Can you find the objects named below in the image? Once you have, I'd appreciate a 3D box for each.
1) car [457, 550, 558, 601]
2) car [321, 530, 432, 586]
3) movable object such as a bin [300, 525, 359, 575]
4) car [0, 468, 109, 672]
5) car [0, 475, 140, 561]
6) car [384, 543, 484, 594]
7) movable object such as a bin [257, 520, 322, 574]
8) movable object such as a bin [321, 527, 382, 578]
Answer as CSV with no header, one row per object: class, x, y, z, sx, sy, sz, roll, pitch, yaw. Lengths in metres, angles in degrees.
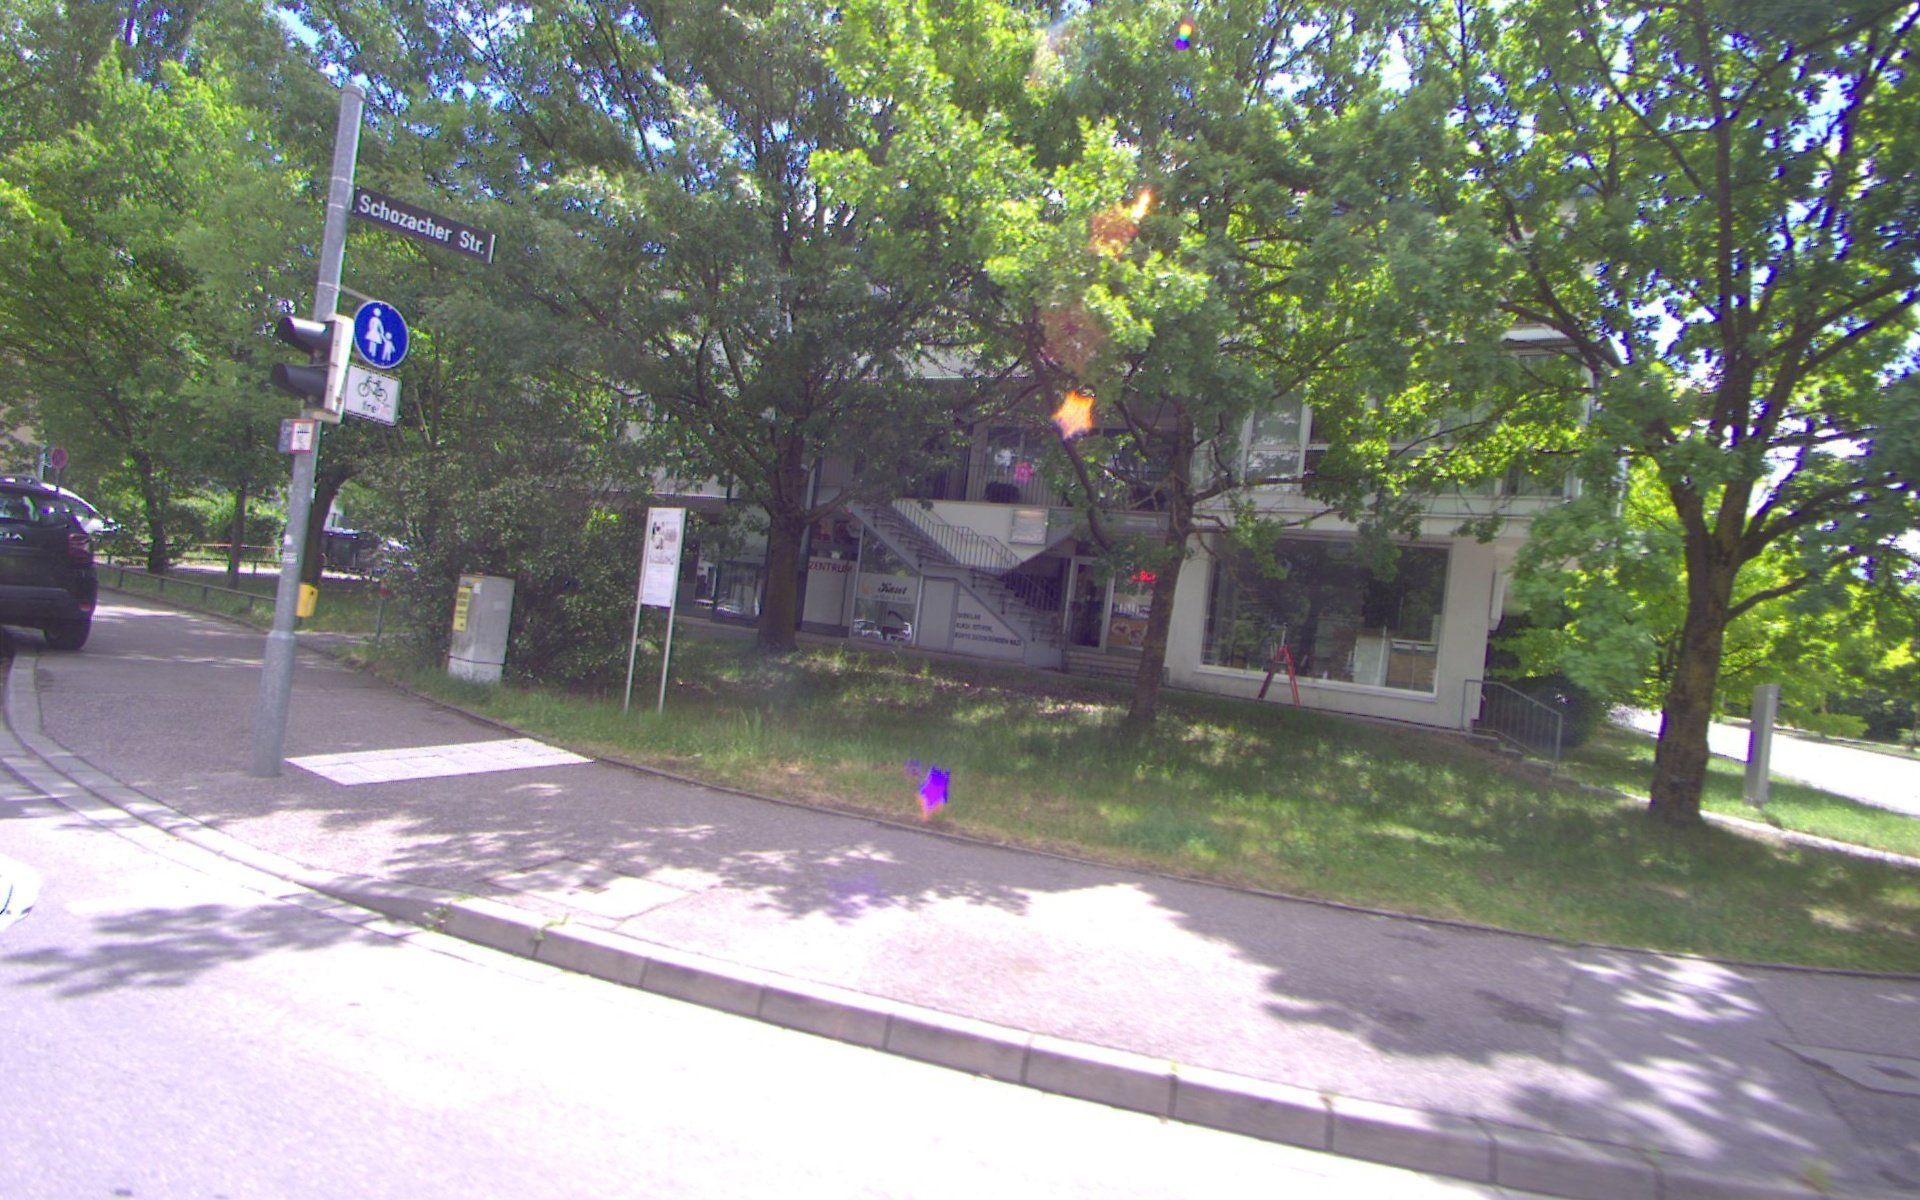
car,-18.081,-0.991,40.159,3.935,1.488,1.745,7,0,33
car,-21.216,-1.545,36.548,3.937,1.508,1.941,7,0,36
movable object such as a bin,-21.196,-1.673,33.846,1.264,1.447,1.117,7,0,31
car,-10.439,-0.515,9.933,4.493,1.784,1.646,7,0,31
car,-24.250,-2.202,26.305,1.776,1.845,4.003,7,0,10
car,-20.306,-1.226,38.779,3.937,1.461,1.744,7,0,36
movable object such as a bin,-20.634,-1.630,30.975,1.264,1.447,1.117,7,0,31
movable object such as a bin,-20.064,-1.573,33.175,1.264,1.447,1.117,7,0,31
